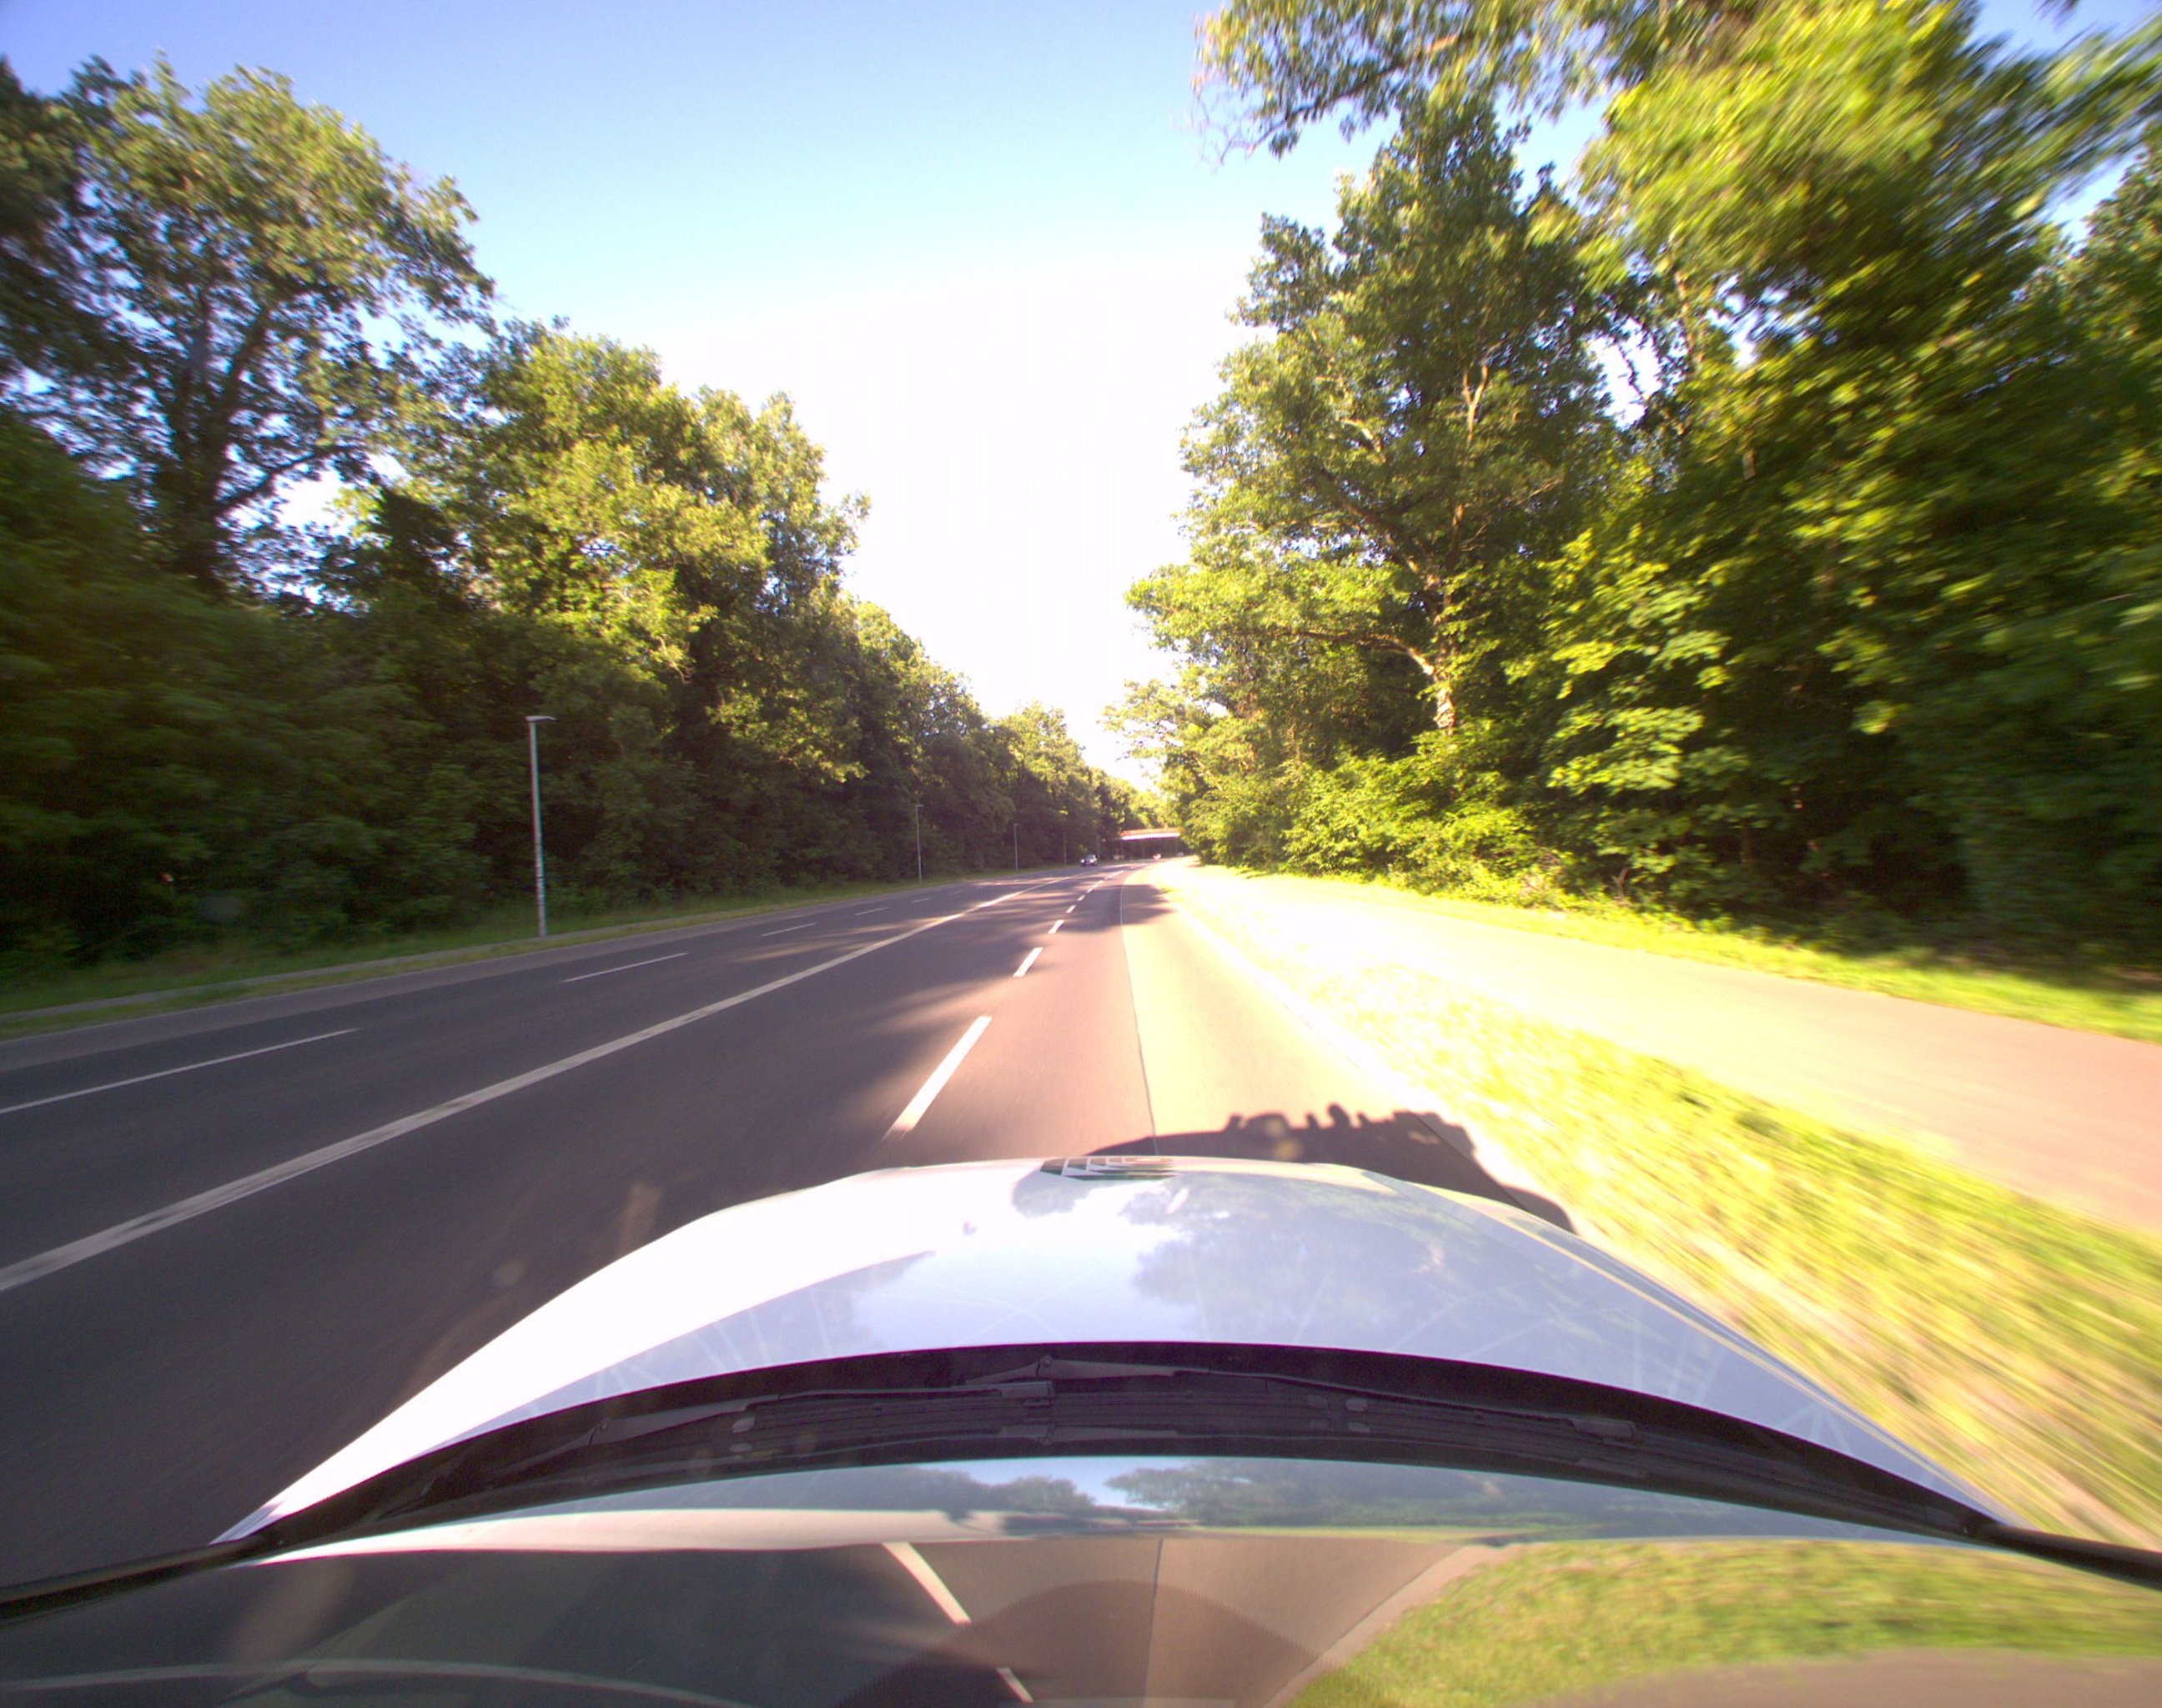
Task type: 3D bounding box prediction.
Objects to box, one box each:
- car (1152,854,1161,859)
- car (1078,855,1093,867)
[{"bbox_3d":[20.630,0.624,221.293,1.697,1.423,4.147,-2,0,15],"label":"car"},{"bbox_3d":[0.657,0.998,114.141,1.800,1.663,4.525,-2,0,3],"label":"car"}]
